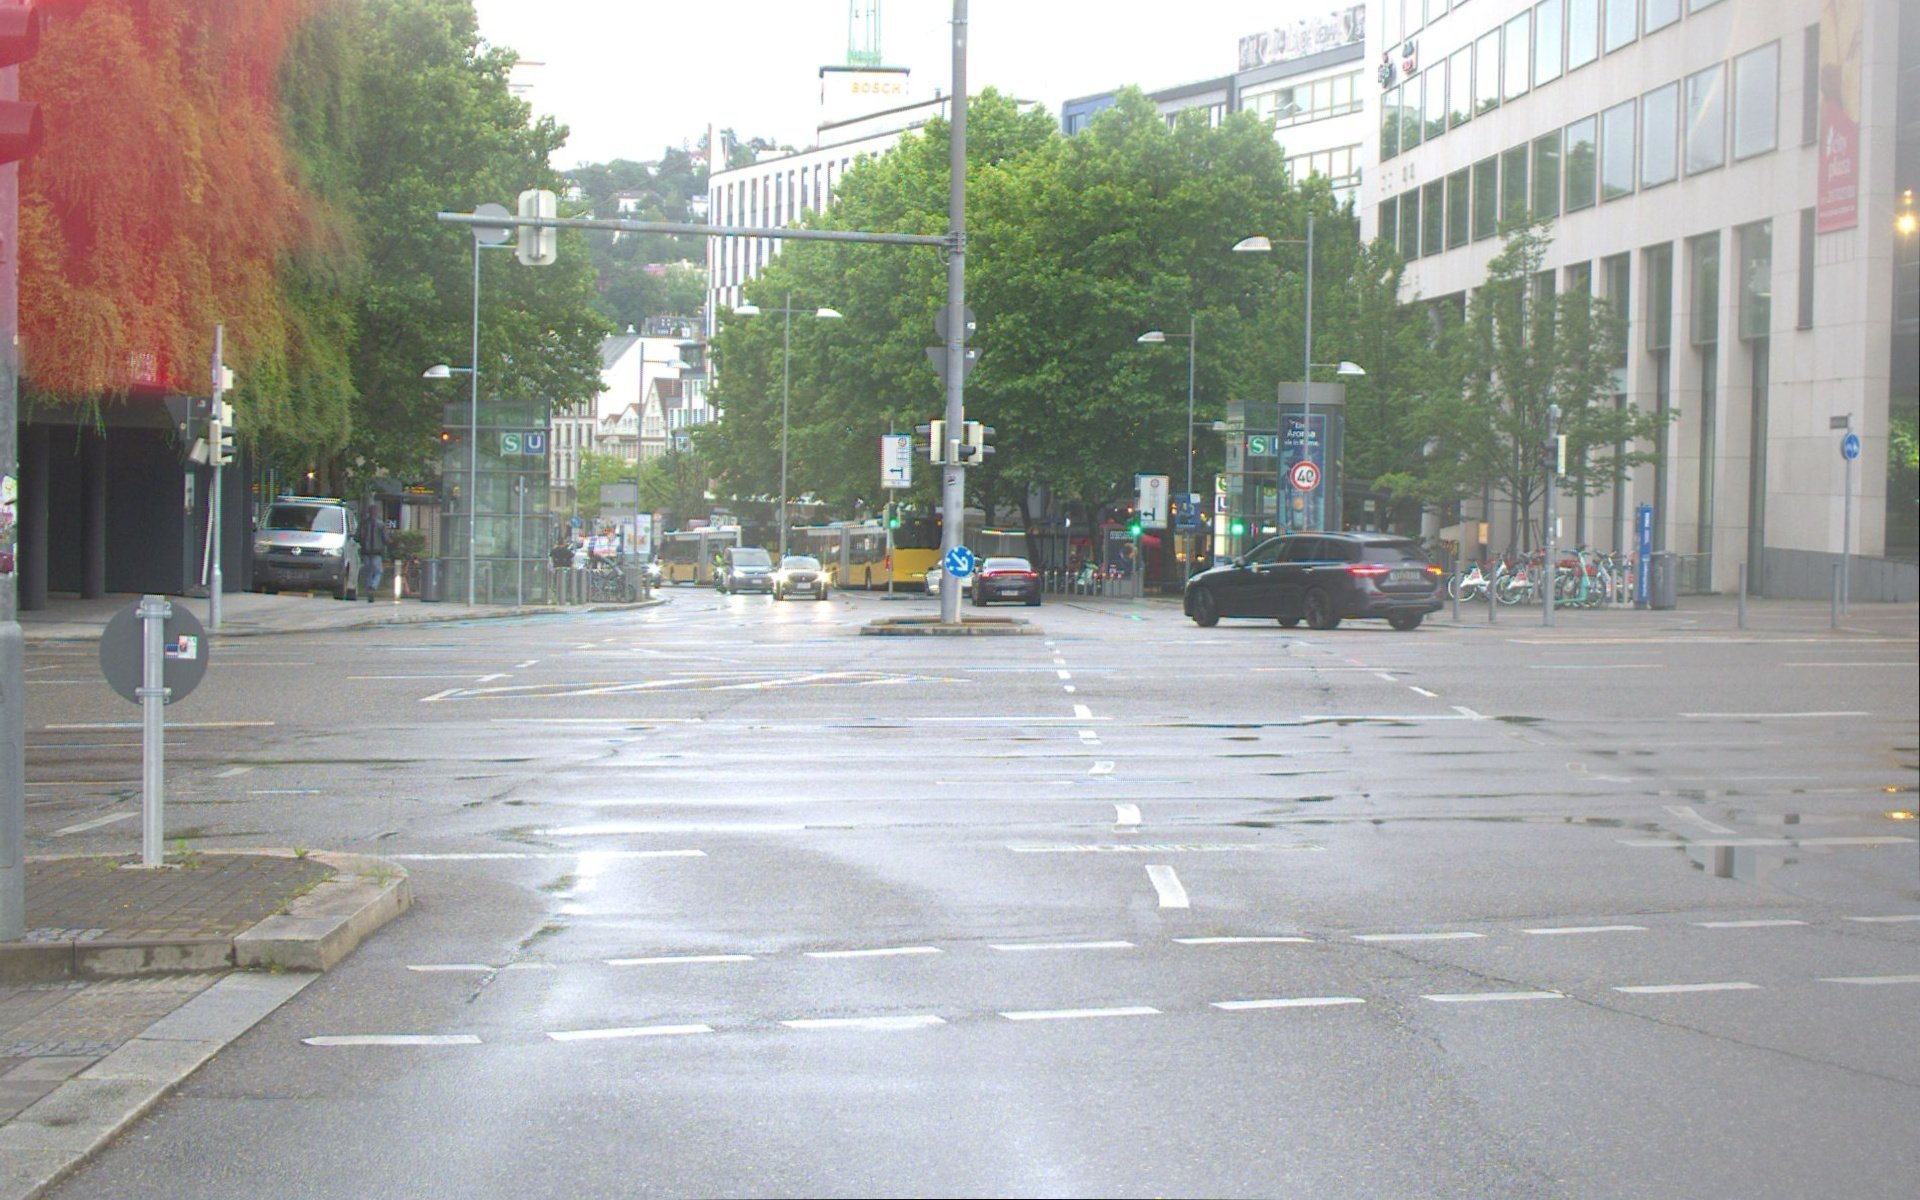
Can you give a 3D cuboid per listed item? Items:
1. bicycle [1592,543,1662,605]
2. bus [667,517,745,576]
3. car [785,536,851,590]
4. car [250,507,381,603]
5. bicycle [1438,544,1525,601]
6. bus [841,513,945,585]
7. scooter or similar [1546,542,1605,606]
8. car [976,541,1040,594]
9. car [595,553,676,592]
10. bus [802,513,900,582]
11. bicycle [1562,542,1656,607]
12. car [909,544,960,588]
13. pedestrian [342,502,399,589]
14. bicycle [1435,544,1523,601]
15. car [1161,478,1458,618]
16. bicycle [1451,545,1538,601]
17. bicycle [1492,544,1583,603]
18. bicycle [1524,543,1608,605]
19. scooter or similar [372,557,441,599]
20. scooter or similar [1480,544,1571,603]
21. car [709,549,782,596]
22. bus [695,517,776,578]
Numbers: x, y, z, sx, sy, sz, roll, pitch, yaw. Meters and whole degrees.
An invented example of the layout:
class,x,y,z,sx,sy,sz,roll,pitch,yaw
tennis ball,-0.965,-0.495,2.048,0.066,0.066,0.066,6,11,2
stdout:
class,x,y,z,sx,sy,sz,roll,pitch,yaw
bicycle,13.001,-0.495,66.954,0.586,1.190,1.779,1,1,38
bus,-13.363,-2.825,180.330,2.627,2.985,7.451,0,1,-16
car,-4.870,-1.290,117.174,2.164,1.759,5.113,0,1,-3
car,-12.772,-0.883,68.331,1.870,1.833,4.000,1,1,-1
bicycle,11.130,-0.585,73.410,1.777,1.190,0.586,1,0,2
bus,-2.893,-2.199,145.942,2.627,2.985,7.451,0,1,-16
scooter or similar,11.487,-0.488,64.160,0.963,1.190,0.454,1,1,40
car,1.404,-0.966,102.455,1.781,1.503,4.000,1,1,-1
car,-15.058,-1.293,159.351,2.163,1.759,5.113,1,1,-24
bus,-4.907,-2.349,153.088,2.627,2.985,7.451,0,1,-16
bicycle,12.240,-0.485,64.844,1.624,1.190,0.586,1,0,26
car,-0.920,-1.221,123.248,1.781,1.503,4.000,1,1,-1
pedestrian,-11.277,-1.036,65.780,0.933,1.638,0.774,1,0,-1
bicycle,10.982,-0.581,72.775,1.777,1.190,0.586,1,0,2
car,5.202,-0.788,51.716,1.544,2.007,4.666,0,1,-40
bicycle,11.558,-0.588,74.327,1.777,1.190,0.586,1,0,2
bicycle,12.029,-0.555,71.606,1.777,1.190,0.586,1,0,2
bicycle,11.697,-0.508,66.396,0.584,1.190,1.784,1,1,-28
scooter or similar,-13.279,-0.532,82.549,0.623,1.001,1.657,1,1,38
scooter or similar,11.675,-0.553,70.984,1.777,1.190,0.586,1,0,2
car,-8.292,-1.060,132.602,2.163,1.759,4.832,-1,1,-11
bus,-11.348,-2.653,173.234,2.627,2.985,7.330,0,1,-16
